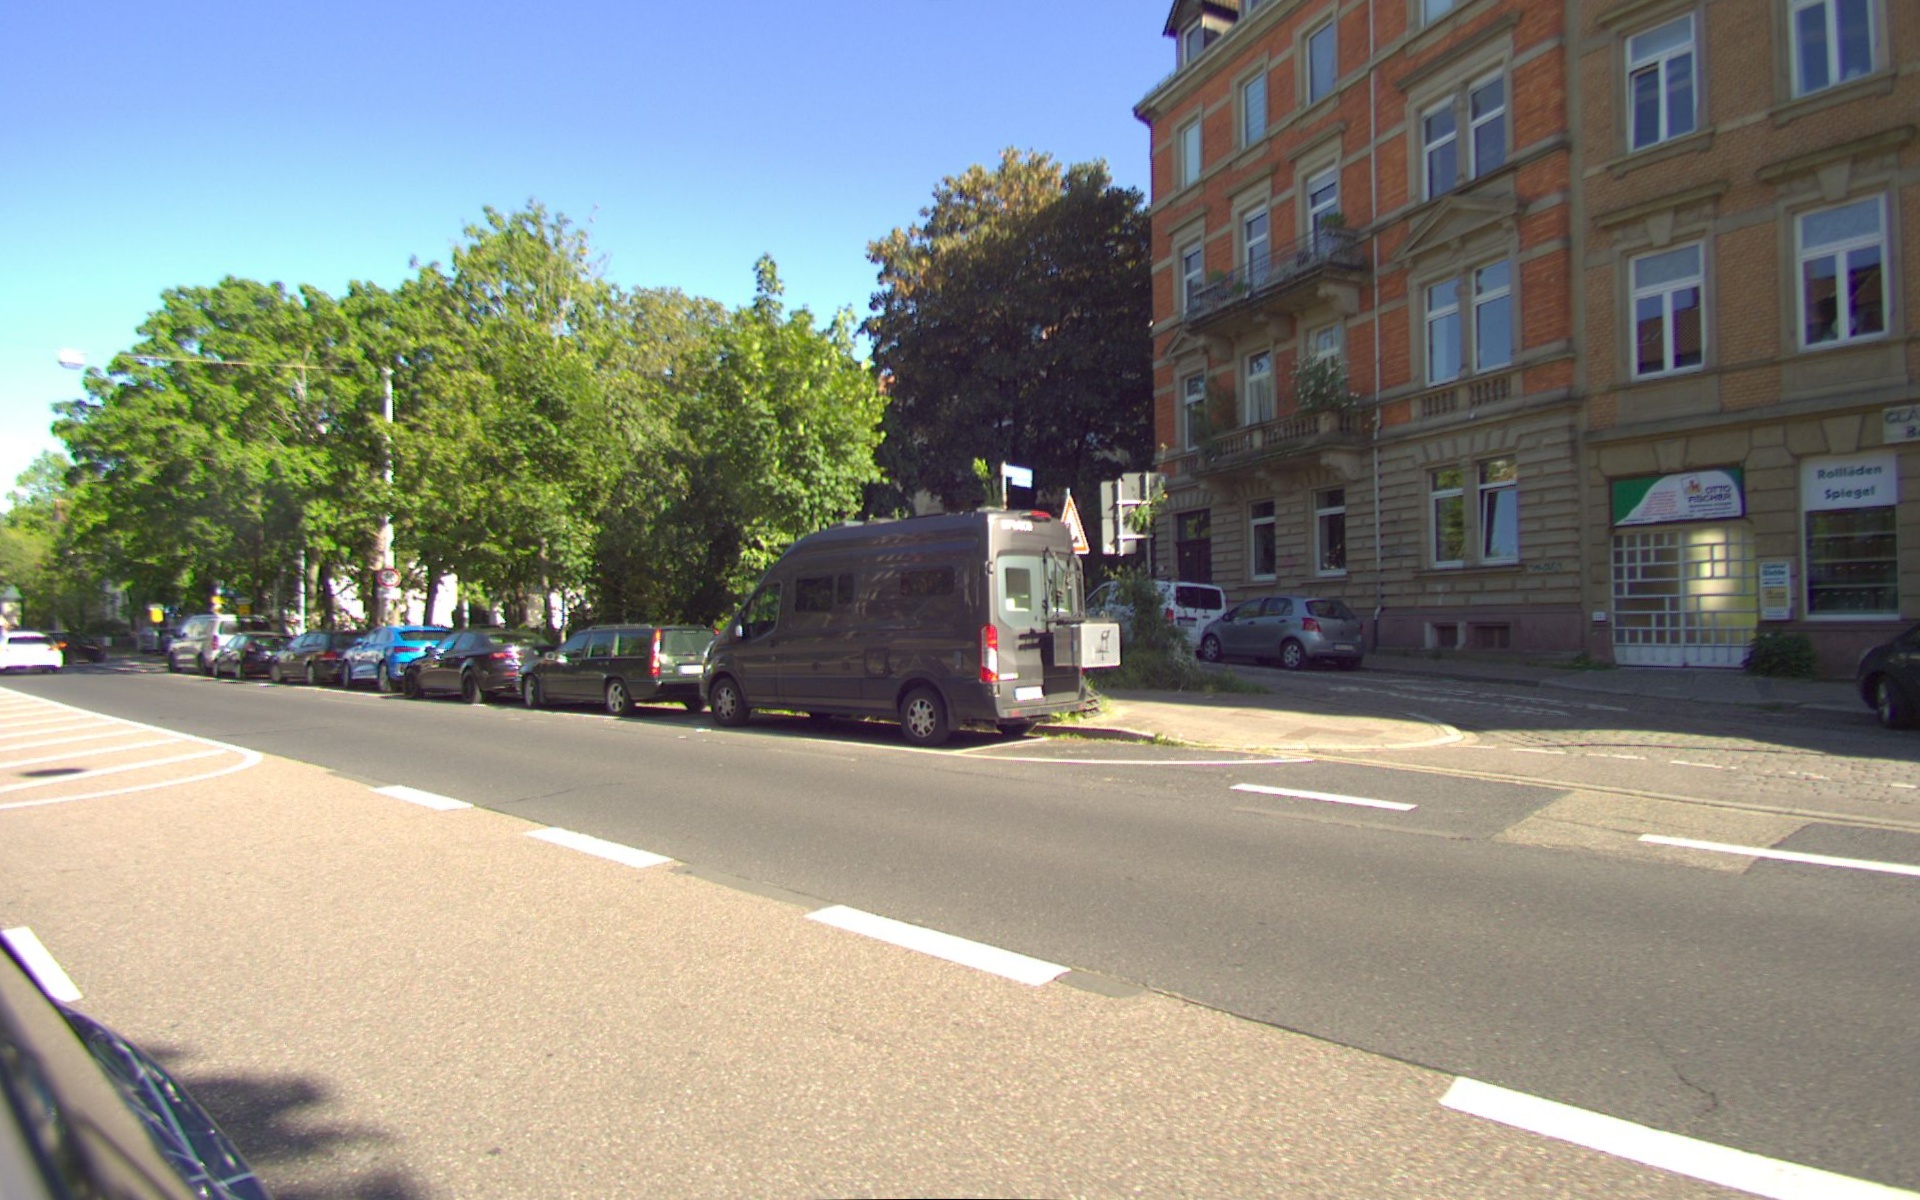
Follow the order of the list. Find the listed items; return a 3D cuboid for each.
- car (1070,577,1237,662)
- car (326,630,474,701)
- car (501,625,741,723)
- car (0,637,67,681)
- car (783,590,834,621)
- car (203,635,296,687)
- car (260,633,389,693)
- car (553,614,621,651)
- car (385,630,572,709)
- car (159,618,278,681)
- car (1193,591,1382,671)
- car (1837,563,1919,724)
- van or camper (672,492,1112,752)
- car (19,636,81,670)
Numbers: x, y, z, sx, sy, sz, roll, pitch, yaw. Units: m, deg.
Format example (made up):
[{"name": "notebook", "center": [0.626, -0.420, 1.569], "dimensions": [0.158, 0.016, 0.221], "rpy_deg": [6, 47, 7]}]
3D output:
[{"name": "car", "center": [4.743, 0.479, 25.472], "dimensions": [1.833, 1.928, 4.466], "rpy_deg": [1, -1, -25]}, {"name": "car", "center": [-13.595, 1.522, 24.470], "dimensions": [4.557, 1.550, 1.761], "rpy_deg": [-2, -3, 42]}, {"name": "car", "center": [-5.885, 1.207, 17.281], "dimensions": [4.659, 1.468, 1.677], "rpy_deg": [-2, -4, 39]}, {"name": "car", "center": [-32.719, 2.011, 35.159], "dimensions": [4.221, 1.430, 1.899], "rpy_deg": [-2, -2, 40]}, {"name": "car", "center": [-13.678, 0.517, 91.196], "dimensions": [4.913, 2.643, 1.869], "rpy_deg": [-2, -3, 40]}, {"name": "car", "center": [-22.401, 1.869, 31.860], "dimensions": [3.956, 1.513, 1.449], "rpy_deg": [-1, -3, 41]}, {"name": "car", "center": [-17.362, 1.673, 27.582], "dimensions": [4.265, 1.493, 1.575], "rpy_deg": [-1, -3, 38]}, {"name": "car", "center": [-23.533, 2.058, 63.736], "dimensions": [4.915, 2.263, 1.869], "rpy_deg": [-2, -3, 41]}, {"name": "car", "center": [-9.754, 1.360, 20.355], "dimensions": [4.402, 1.424, 1.762], "rpy_deg": [-2, -4, 41]}, {"name": "car", "center": [-25.835, 1.743, 35.218], "dimensions": [4.867, 2.052, 1.965], "rpy_deg": [-2, -4, 37]}, {"name": "car", "center": [6.753, 0.634, 21.202], "dimensions": [1.833, 1.524, 3.541], "rpy_deg": [1, -1, -25]}, {"name": "car", "center": [11.027, 0.438, 9.633], "dimensions": [1.976, 1.682, 4.135], "rpy_deg": [-4, 1, 7]}, {"name": "van or camper", "center": [-1.172, 0.327, 13.579], "dimensions": [6.084, 2.760, 2.193], "rpy_deg": [-2, -2, 41]}, {"name": "car", "center": [-41.261, 2.386, 45.869], "dimensions": [4.130, 1.461, 1.576], "rpy_deg": [-2, -2, 41]}]
